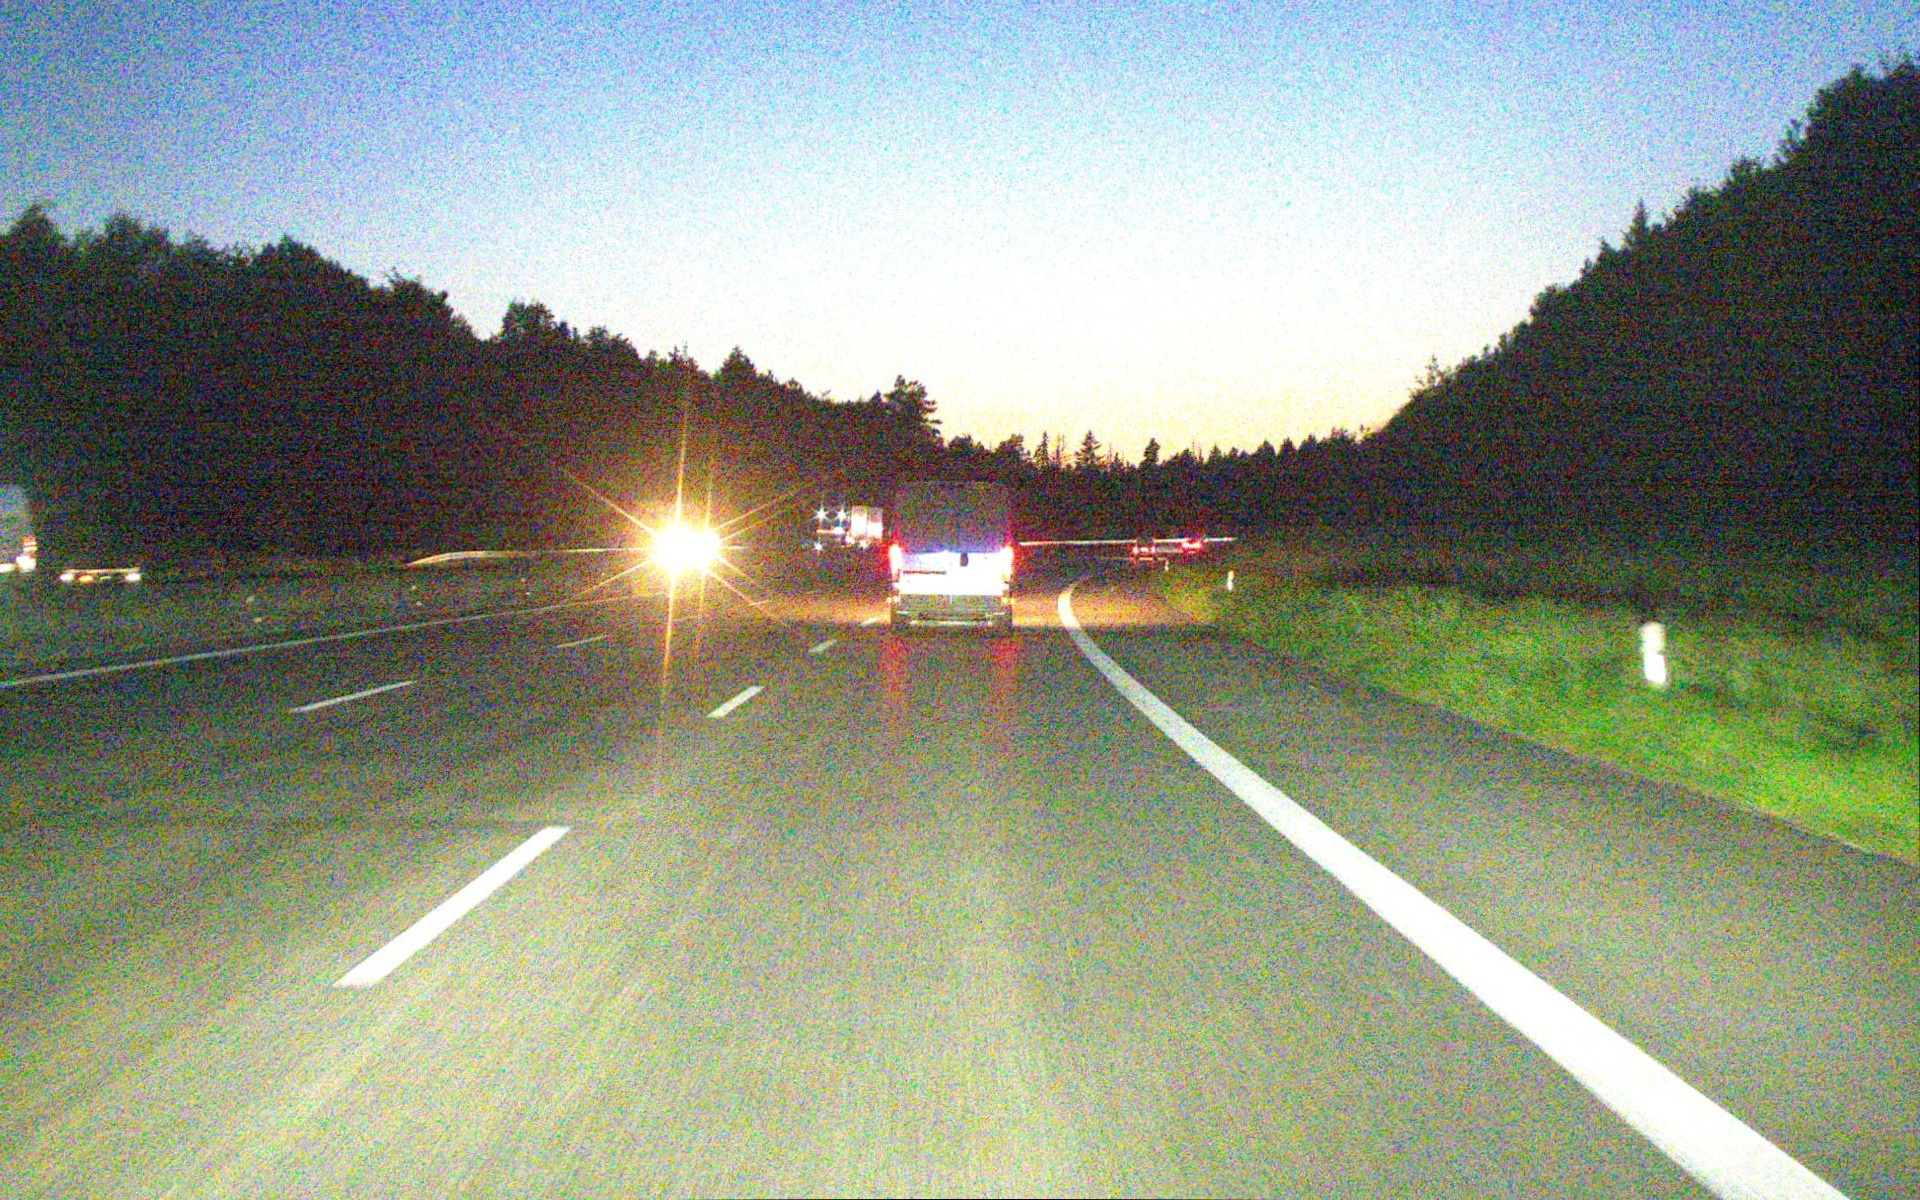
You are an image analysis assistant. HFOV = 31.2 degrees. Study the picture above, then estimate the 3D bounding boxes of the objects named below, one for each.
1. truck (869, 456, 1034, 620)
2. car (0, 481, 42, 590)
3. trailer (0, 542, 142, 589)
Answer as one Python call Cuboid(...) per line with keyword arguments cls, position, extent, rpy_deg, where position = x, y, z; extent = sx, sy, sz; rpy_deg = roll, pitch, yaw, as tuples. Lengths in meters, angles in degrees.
Cuboid(cls="truck", position=(-0.239, -1.049, 59.714), extent=(2.630, 2.615, 8.685), rpy_deg=(1, 1, -1))
Cuboid(cls="car", position=(-22.929, -1.489, 78.326), extent=(2.082, 2.479, 6.242), rpy_deg=(1, 1, 3))
Cuboid(cls="trailer", position=(-22.629, -0.872, 85.479), extent=(2.415, 1.100, 8.077), rpy_deg=(1, 1, 2))
